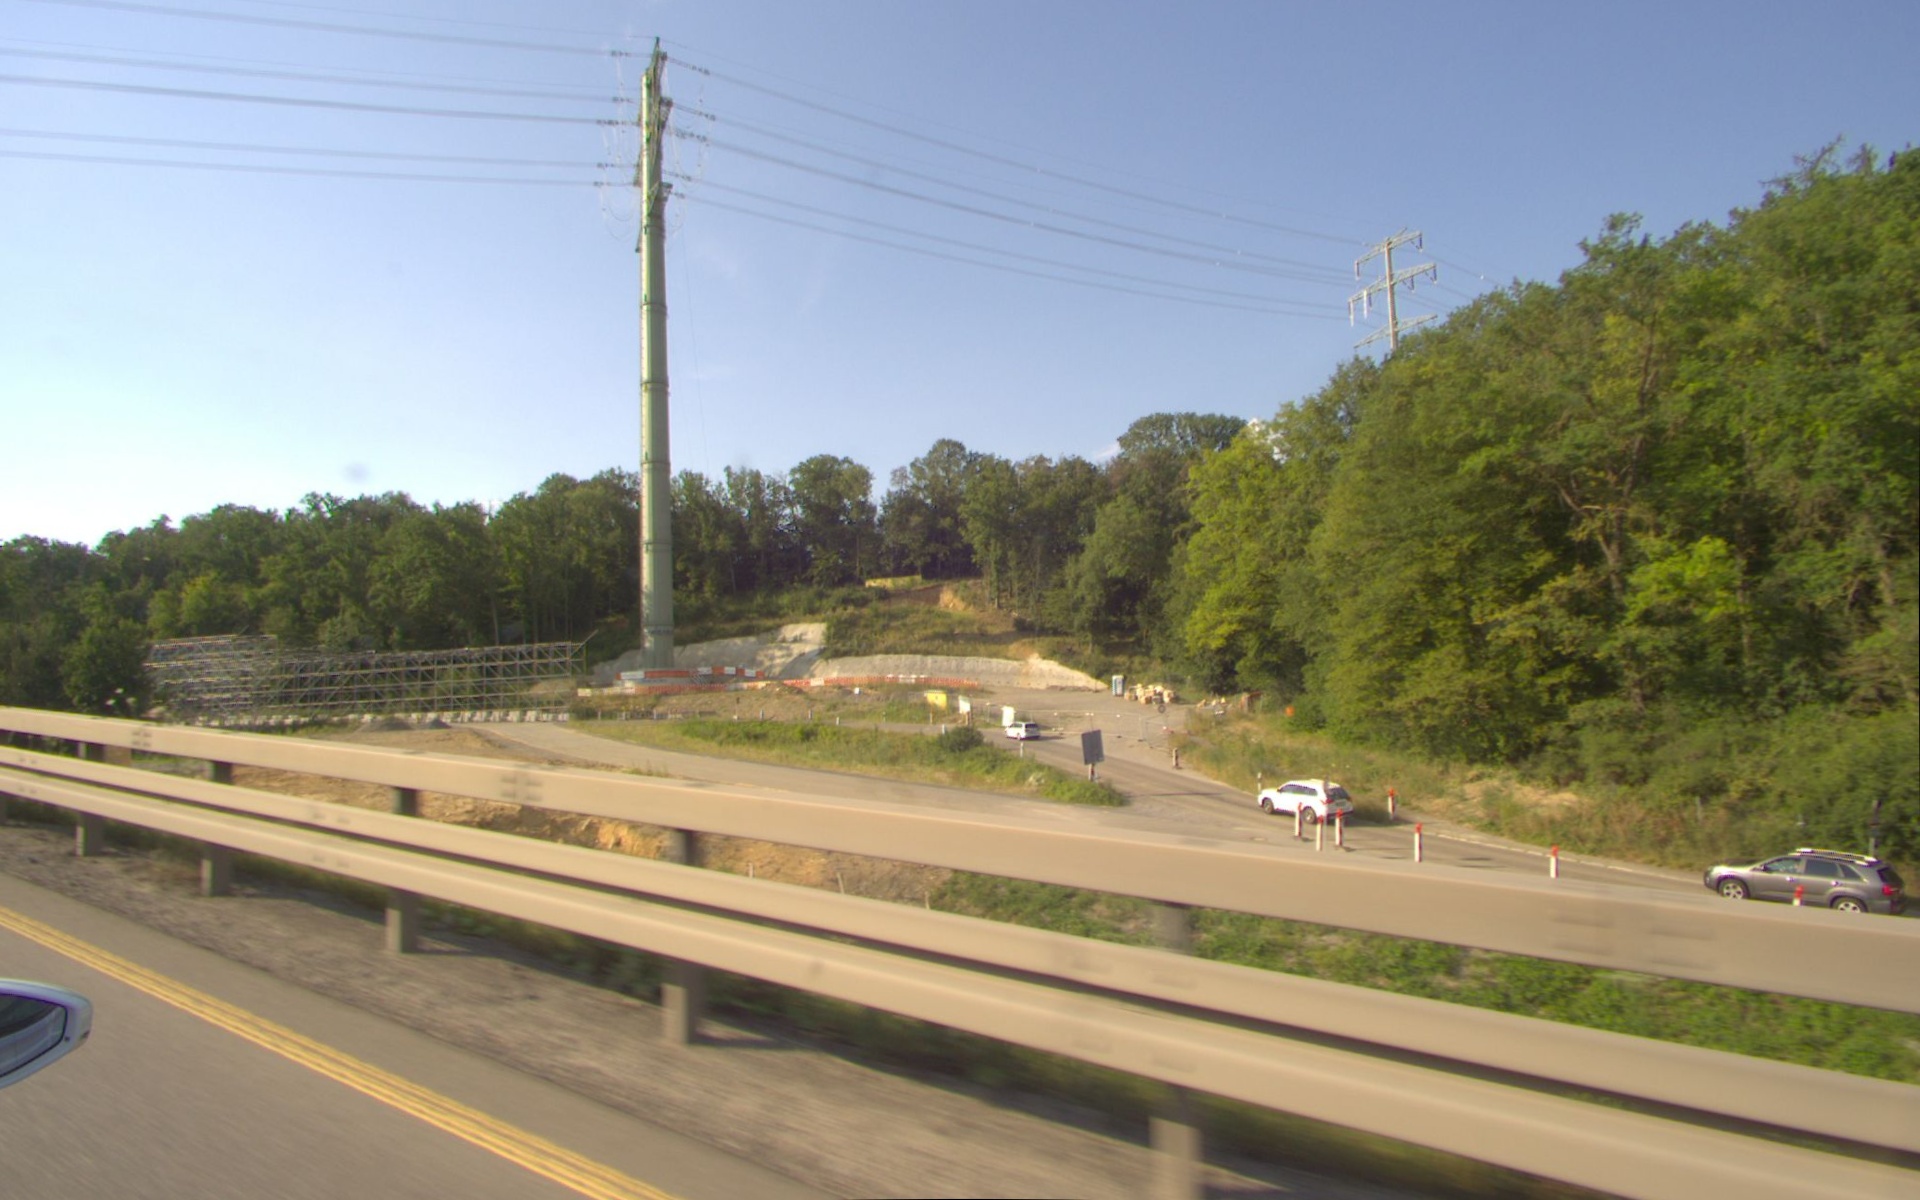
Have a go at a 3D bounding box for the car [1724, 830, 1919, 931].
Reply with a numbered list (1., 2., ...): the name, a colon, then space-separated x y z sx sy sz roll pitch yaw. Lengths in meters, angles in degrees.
1. car: 24.935 7.967 28.784 1.848 1.807 4.462 1 -2 -40

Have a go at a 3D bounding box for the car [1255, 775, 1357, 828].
1. car: 15.203 8.828 44.206 1.648 1.682 4.457 2 -4 -25

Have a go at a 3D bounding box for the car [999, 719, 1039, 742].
1. car: 4.842 10.739 82.850 1.506 1.479 4.255 -1 -2 -24
